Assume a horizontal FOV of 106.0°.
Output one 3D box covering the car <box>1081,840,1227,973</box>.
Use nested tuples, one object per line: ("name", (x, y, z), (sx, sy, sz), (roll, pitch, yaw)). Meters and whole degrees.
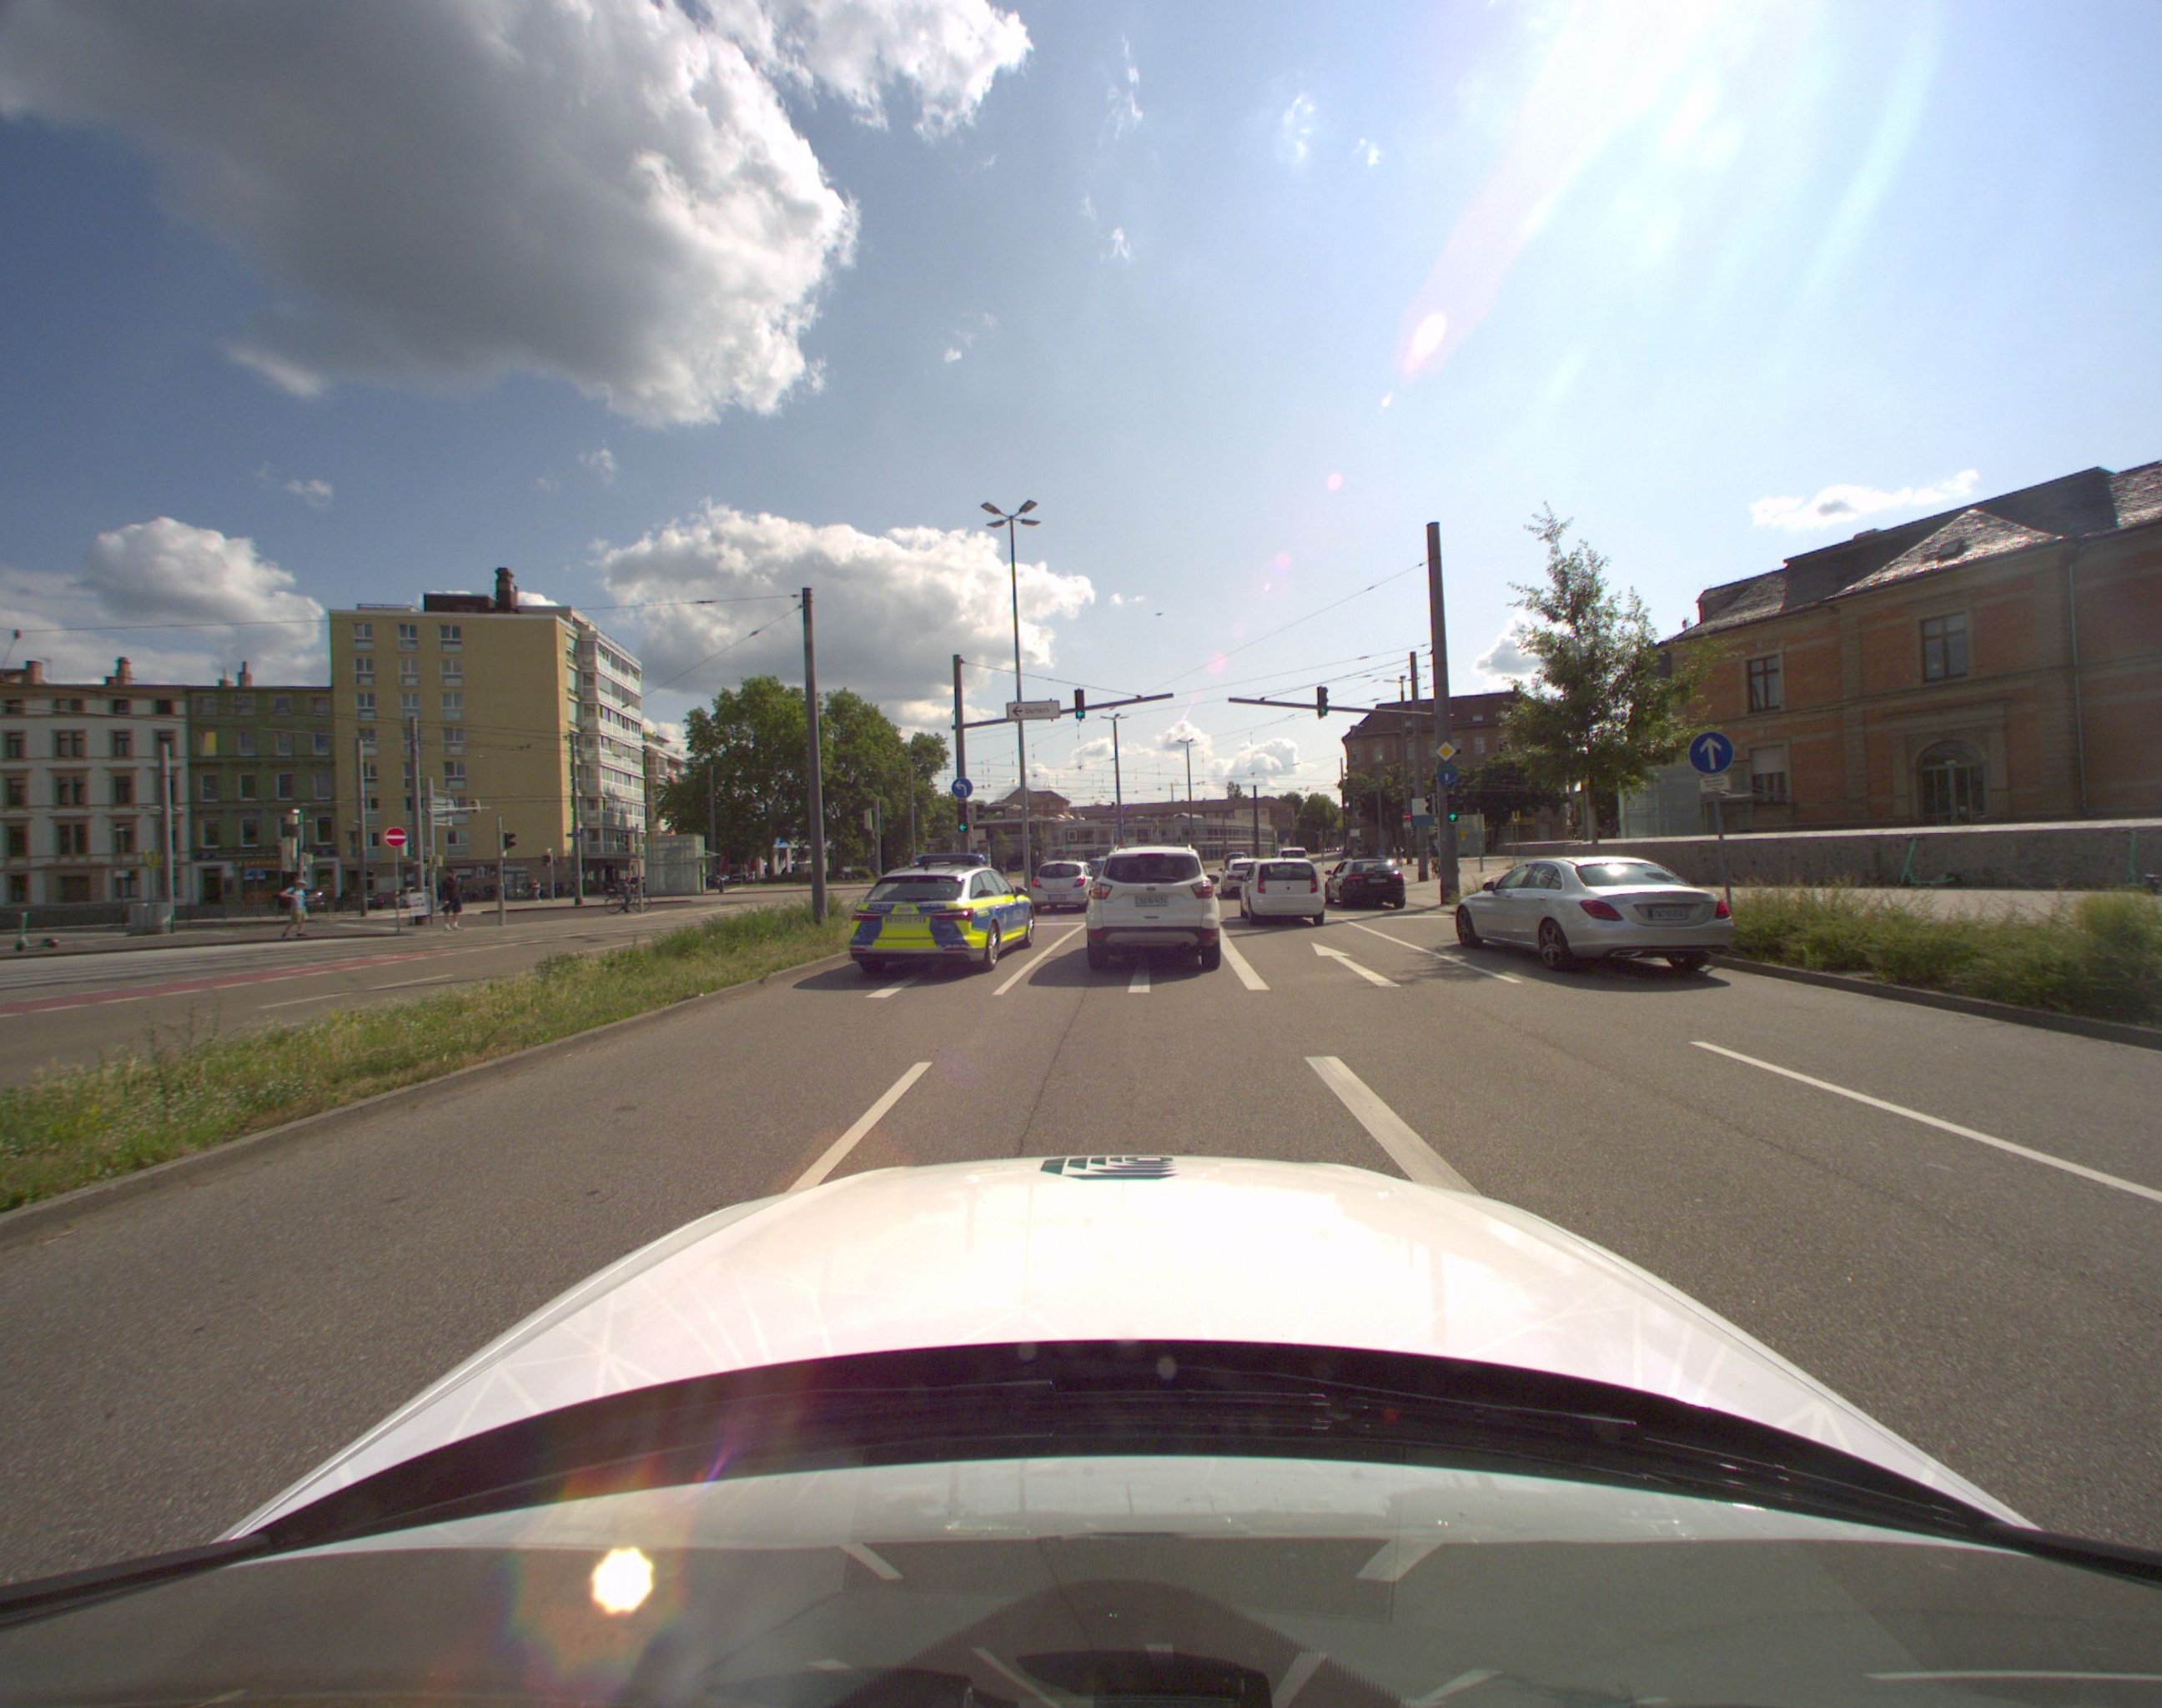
("car", (1.109, 0.693, 12.313), (1.818, 1.664, 3.961), (-1, -1, 5))

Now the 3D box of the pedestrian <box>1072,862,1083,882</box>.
("pedestrian", (-0.332, 1.589, 71.997), (0.919, 1.744, 0.590), (-1, -1, 6))

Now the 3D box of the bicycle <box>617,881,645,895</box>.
("bicycle", (-38.468, 2.906, 69.604), (1.948, 1.147, 0.792), (-2, -1, -17))

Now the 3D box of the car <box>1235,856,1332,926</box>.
("car", (4.738, 0.809, 19.506), (1.641, 1.422, 4.006), (-3, 0, 6))

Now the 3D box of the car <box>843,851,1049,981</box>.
("car", (-1.792, 0.785, 12.461), (1.870, 1.568, 4.623), (-2, 0, 6))

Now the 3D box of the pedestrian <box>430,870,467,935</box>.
("pedestrian", (-19.280, 1.457, 24.852), (0.770, 1.903, 0.819), (0, -1, -30))

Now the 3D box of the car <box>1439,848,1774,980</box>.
("car", (6.973, 0.692, 11.575), (1.922, 1.455, 4.764), (-1, 0, 4))

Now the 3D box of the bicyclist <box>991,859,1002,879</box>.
("bicyclist", (-7.352, 1.283, 70.968), (0.654, 1.738, 0.643), (-2, 0, 23))

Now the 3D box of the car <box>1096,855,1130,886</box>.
("car", (1.757, 0.904, 46.072), (1.756, 1.568, 4.527), (-2, 0, 1))

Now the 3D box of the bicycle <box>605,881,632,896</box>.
("bicycle", (-38.776, 2.876, 68.306), (1.808, 1.147, 0.792), (-2, -1, -17))

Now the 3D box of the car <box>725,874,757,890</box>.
("car", (-32.939, 2.758, 79.014), (1.906, 1.413, 3.985), (-3, -2, -10))

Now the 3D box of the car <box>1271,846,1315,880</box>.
("car", (11.215, 0.496, 43.272), (1.826, 1.652, 4.009), (-2, -1, 8))

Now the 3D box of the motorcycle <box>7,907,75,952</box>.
("motorcycle", (-30.934, 2.230, 24.229), (1.436, 1.237, 0.484), (-3, -1, 3))

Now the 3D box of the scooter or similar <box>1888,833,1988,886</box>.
("scooter or similar", (19.136, 0.123, 18.212), (0.466, 1.118, 1.438), (-3, 0, -18))

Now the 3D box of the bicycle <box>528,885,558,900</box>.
("bicycle", (-42.804, 3.040, 64.805), (1.809, 1.104, 0.792), (-2, -1, -18))

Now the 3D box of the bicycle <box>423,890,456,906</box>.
("bicycle", (-49.783, 3.392, 63.198), (1.809, 1.104, 0.792), (-2, -1, -18))

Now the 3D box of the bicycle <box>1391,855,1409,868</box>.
("bicycle", (20.572, 0.475, 52.545), (0.582, 0.775, 1.622), (-2, -1, 3))

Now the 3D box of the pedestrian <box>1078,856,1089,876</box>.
("pedestrian", (0.202, 1.044, 70.955), (0.919, 1.744, 0.590), (-1, -1, 5))

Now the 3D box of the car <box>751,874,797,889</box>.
("car", (-30.907, 2.742, 82.115), (3.975, 1.327, 1.632), (-3, -2, -1))

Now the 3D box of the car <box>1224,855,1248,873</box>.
("car", (12.514, 0.794, 66.029), (1.839, 1.419, 3.689), (-2, -1, 10))

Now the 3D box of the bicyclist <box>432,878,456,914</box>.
("bicyclist", (-32.761, 2.157, 41.899), (0.779, 1.797, 0.706), (0, -1, -18))

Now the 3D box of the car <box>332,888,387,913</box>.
("car", (-48.428, 3.120, 54.674), (3.849, 1.497, 1.912), (-4, -2, 35))

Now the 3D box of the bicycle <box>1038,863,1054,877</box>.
("bicycle", (-3.226, 1.464, 75.439), (0.753, 1.192, 2.160), (-3, -1, 16))

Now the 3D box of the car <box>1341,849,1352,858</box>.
("car", (53.089, -0.030, 162.648), (1.820, 1.652, 4.021), (-2, -1, 22))

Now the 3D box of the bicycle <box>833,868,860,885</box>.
("bicycle", (-20.223, 1.935, 70.240), (2.171, 1.414, 0.808), (-1, 0, -14))

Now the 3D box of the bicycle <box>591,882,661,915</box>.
("bicycle", (-18.830, 1.825, 33.739), (2.287, 1.188, 0.994), (-3, -1, -1))

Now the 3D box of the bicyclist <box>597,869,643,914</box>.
("bicyclist", (-19.081, 1.537, 33.736), (1.293, 1.731, 0.994), (-3, -1, -1))

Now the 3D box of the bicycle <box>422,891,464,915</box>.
("bicycle", (-32.745, 2.502, 41.849), (0.889, 1.138, 2.343), (0, -1, -17))

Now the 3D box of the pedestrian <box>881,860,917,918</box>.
("pedestrian", (-5.386, 1.029, 24.155), (0.844, 1.648, 0.692), (-3, -1, 1))

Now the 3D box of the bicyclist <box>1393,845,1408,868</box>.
("bicyclist", (20.546, 0.156, 52.355), (0.606, 1.451, 0.775), (-2, -1, 3))

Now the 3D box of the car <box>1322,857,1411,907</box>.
("car", (8.401, 0.792, 24.334), (1.689, 1.372, 4.141), (-1, -1, 7))

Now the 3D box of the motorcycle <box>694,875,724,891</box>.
("motorcycle", (-30.877, 2.409, 67.524), (2.193, 1.238, 0.910), (-3, 0, 19))

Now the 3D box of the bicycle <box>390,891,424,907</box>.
("bicycle", (-51.732, 3.474, 62.525), (1.809, 1.104, 0.792), (-2, -1, -18))

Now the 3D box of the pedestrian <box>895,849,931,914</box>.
("pedestrian", (-5.143, 0.838, 24.942), (0.844, 1.917, 0.692), (-3, -1, 1))

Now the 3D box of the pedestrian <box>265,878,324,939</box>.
("pedestrian", (-24.200, 1.658, 25.071), (0.761, 1.797, 1.029), (-1, -1, 5))

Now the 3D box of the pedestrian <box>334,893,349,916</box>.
("pedestrian", (-51.758, 3.529, 57.031), (0.703, 1.534, 0.549), (-3, -1, -41))

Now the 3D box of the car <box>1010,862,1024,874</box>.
("car", (-9.207, 2.013, 117.102), (1.814, 1.534, 3.913), (-4, -1, -2))

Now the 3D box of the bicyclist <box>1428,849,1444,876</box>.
("bicyclist", (17.022, 0.423, 39.060), (0.629, 1.220, 0.929), (-4, 0, 22))

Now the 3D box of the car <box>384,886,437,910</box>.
("car", (-46.346, 3.072, 56.245), (3.849, 1.497, 1.912), (-4, -2, 36))

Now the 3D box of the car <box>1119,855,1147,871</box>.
("car", (5.294, 0.867, 82.081), (1.675, 1.461, 3.988), (-4, -1, 19))

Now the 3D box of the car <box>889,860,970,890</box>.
("car", (-8.559, 1.183, 45.735), (4.480, 1.578, 2.059), (-2, -1, 39))

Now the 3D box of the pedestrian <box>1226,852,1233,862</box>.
("pedestrian", (24.869, 0.510, 136.153), (0.866, 1.737, 0.882), (-1, -1, 37))

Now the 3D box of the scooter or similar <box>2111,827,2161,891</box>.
("scooter or similar", (19.444, 0.078, 14.959), (1.326, 1.104, 0.460), (-3, 0, -45))

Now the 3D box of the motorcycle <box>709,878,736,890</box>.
("motorcycle", (-31.844, 2.679, 72.387), (0.801, 0.917, 2.057), (-2, 1, 38))

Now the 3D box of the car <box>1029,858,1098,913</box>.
("car", (-0.446, 0.905, 24.675), (1.841, 1.474, 4.001), (-2, -1, 1))

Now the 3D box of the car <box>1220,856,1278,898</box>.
("car", (6.261, 0.831, 30.720), (1.840, 1.419, 3.686), (-2, -1, 7))

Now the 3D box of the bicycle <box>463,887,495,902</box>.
("bicycle", (-47.212, 3.162, 63.886), (1.809, 1.104, 0.792), (-2, -1, -18))

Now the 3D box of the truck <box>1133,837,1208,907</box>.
("truck", (3.260, 0.595, 28.685), (2.325, 2.155, 5.865), (-1, -1, 8))

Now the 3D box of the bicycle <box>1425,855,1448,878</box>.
("bicycle", (17.023, 0.611, 39.020), (0.839, 0.970, 1.971), (-5, -1, 22))

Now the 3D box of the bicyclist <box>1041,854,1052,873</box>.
("bicyclist", (-3.207, 0.875, 75.571), (0.753, 1.683, 0.764), (-3, -1, 16))

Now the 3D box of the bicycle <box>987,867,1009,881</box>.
("bicycle", (-7.212, 1.739, 70.909), (1.763, 1.125, 0.643), (-2, 0, 22))

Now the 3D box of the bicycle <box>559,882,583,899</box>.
("bicycle", (-41.732, 2.960, 66.677), (0.792, 1.258, 1.808), (-2, -1, -2))

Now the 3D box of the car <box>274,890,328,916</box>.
("car", (-51.846, 3.263, 54.106), (3.849, 1.497, 1.912), (-4, -2, 35))
